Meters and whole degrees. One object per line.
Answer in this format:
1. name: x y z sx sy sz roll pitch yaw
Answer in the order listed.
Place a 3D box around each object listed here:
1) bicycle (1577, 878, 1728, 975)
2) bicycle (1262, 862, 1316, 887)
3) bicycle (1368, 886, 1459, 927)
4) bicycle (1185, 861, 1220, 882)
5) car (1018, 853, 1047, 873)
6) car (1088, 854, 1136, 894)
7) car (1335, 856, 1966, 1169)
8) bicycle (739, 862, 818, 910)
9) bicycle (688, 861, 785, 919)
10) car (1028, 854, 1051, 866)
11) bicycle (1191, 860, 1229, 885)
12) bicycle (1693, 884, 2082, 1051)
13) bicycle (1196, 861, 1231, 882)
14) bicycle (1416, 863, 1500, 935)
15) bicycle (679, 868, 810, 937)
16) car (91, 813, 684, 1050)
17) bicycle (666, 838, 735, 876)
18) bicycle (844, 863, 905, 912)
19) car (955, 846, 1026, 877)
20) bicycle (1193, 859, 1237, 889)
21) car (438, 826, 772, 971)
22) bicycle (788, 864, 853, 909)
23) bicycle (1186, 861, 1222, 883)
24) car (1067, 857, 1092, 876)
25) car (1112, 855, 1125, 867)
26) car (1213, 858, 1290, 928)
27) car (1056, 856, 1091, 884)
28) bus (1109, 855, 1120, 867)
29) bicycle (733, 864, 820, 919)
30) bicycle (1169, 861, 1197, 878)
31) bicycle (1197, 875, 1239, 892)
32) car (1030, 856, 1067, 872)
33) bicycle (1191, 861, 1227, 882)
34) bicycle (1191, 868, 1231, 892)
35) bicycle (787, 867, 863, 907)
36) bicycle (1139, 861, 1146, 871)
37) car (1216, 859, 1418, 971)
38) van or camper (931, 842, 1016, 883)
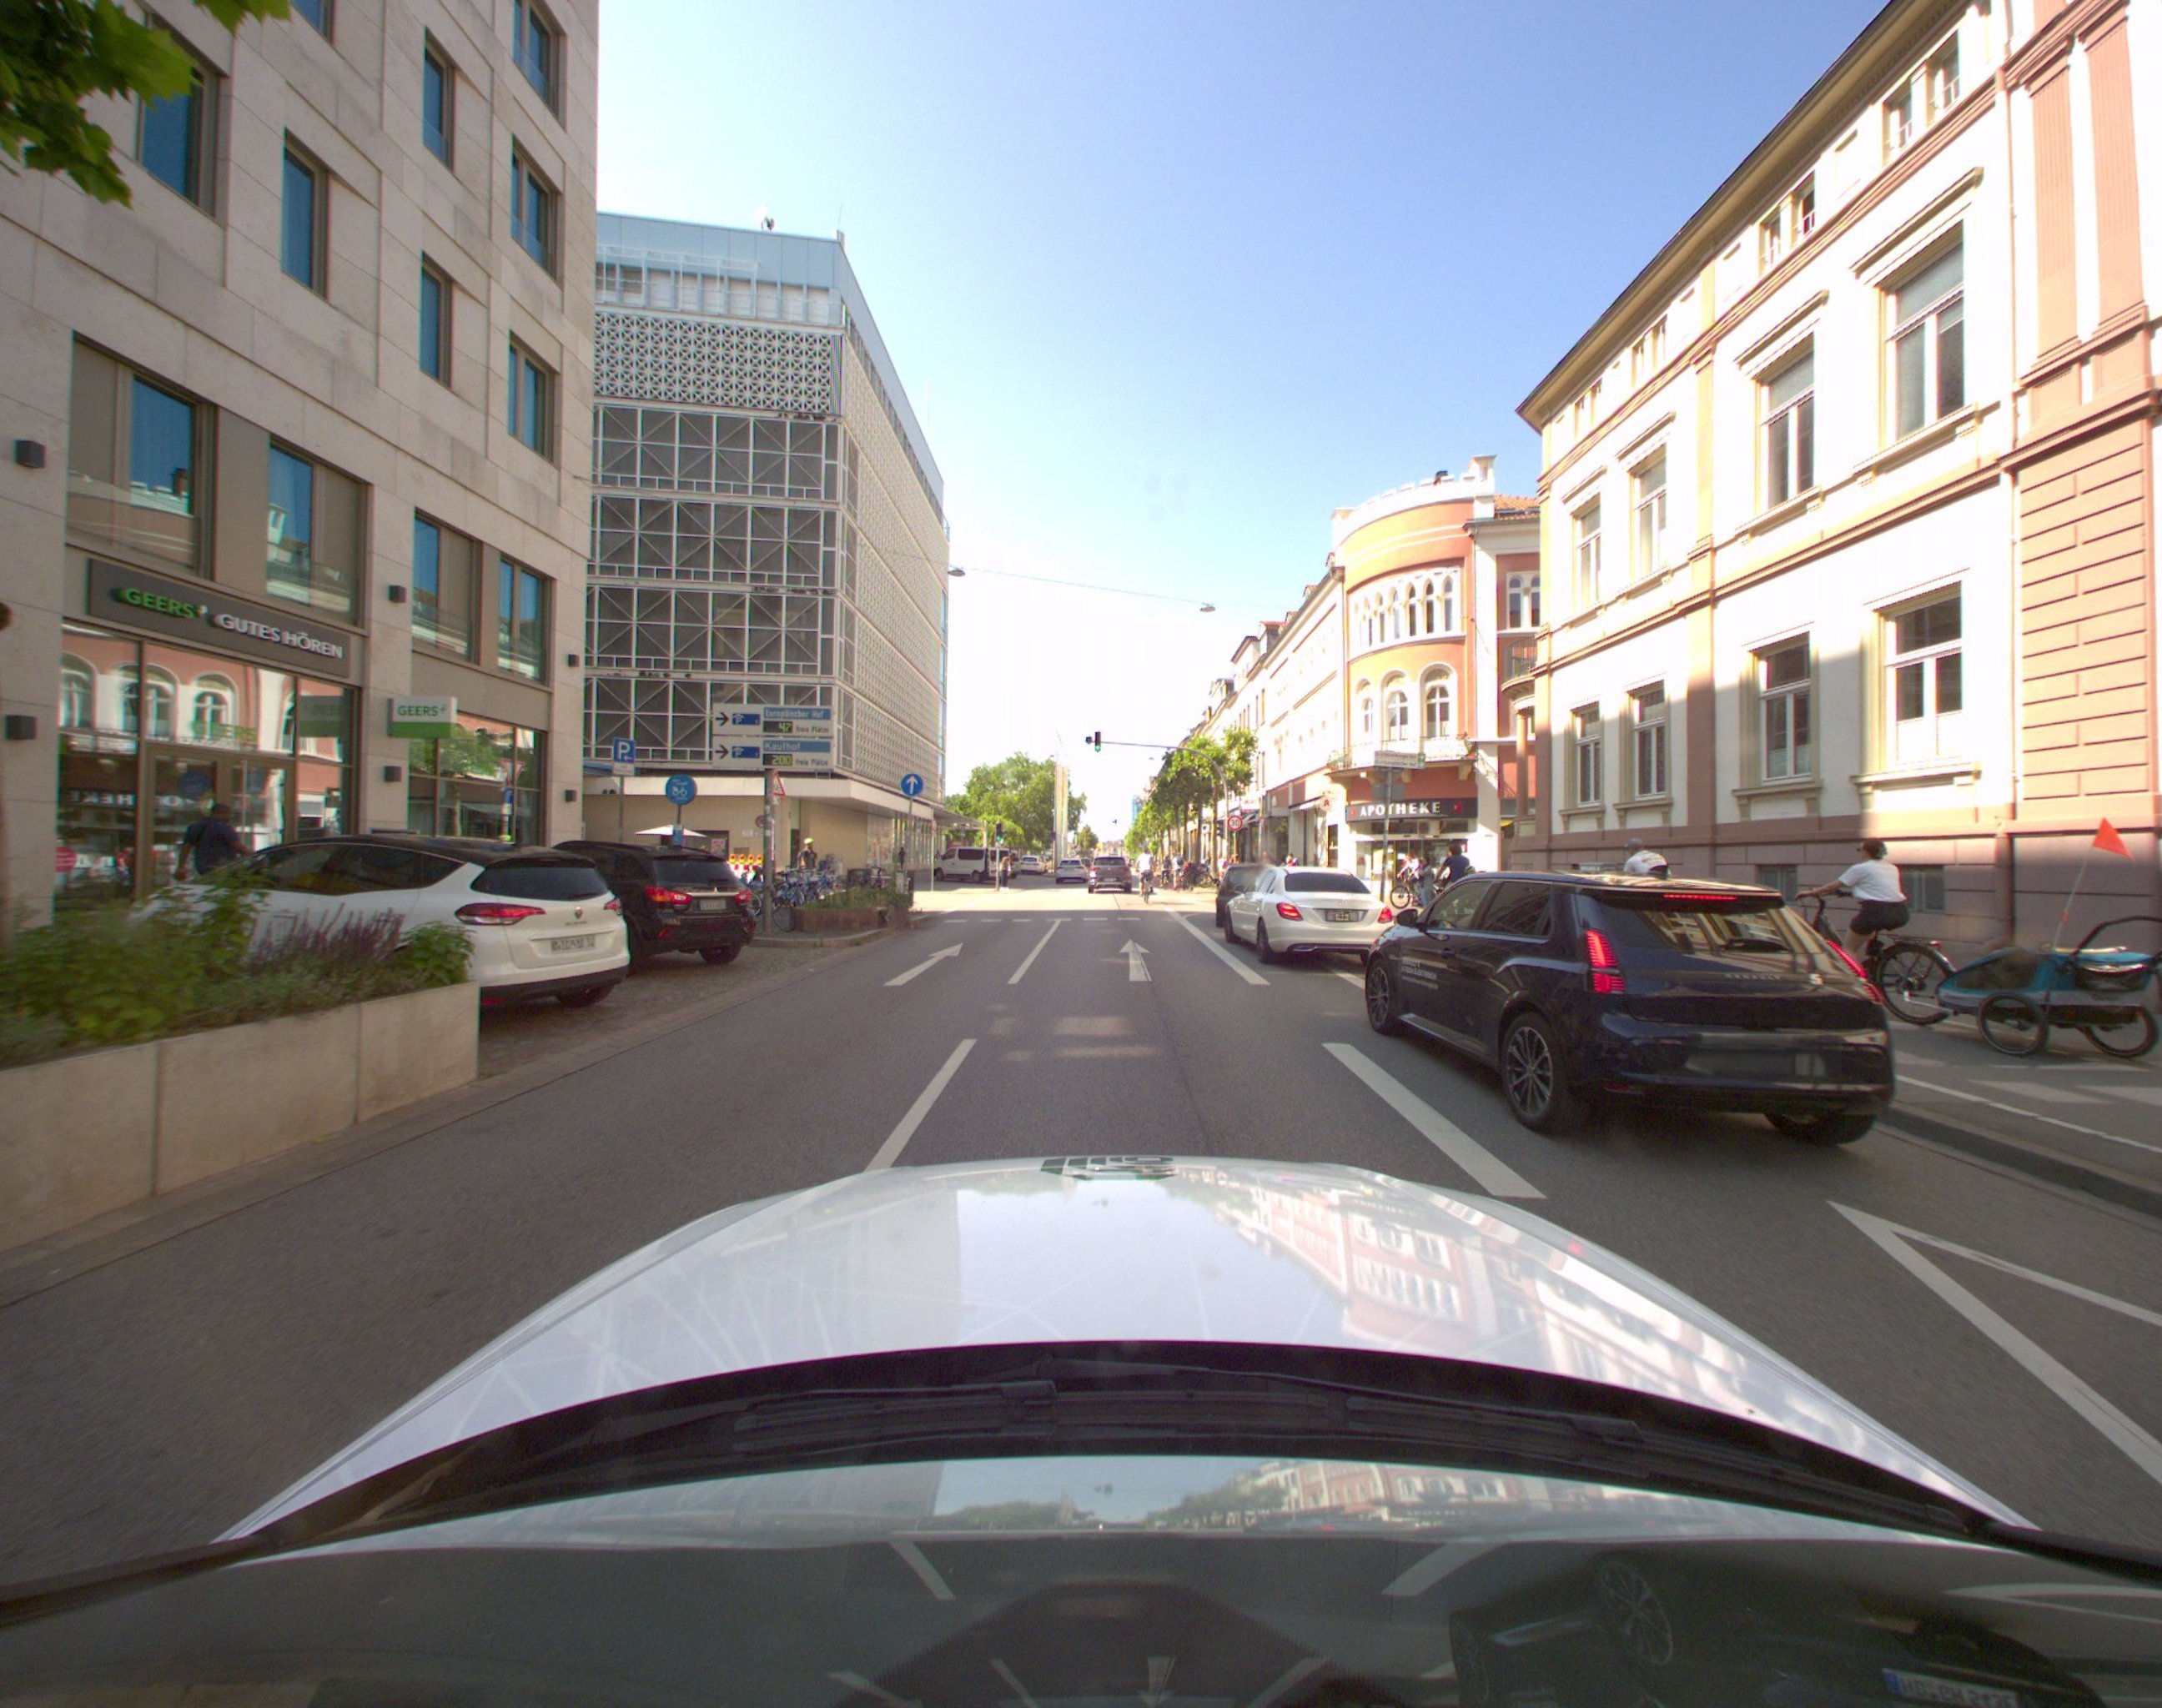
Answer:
1. bicycle: 7.884 0.945 11.363 0.570 1.127 2.076 -1 1 -2
2. bicycle: 7.340 0.724 28.769 1.814 0.844 0.501 0 0 2
3. bicycle: 10.274 1.625 25.261 2.545 1.127 0.630 2 -3 16
4. bicycle: 6.648 0.948 44.523 1.832 1.127 0.644 0 -1 3
5. car: -3.799 0.675 64.234 1.792 1.523 4.741 1 0 2
6. car: 1.249 0.785 34.041 1.840 1.559 3.999 0 0 0
7. car: 3.529 0.828 6.223 1.879 1.491 4.291 2 -1 1
8. bicycle: -7.648 0.787 20.551 2.038 1.127 0.651 1 0 28
9. bicycle: -7.647 0.782 18.044 2.300 1.127 0.565 2 0 26
10. car: -6.982 1.009 137.732 1.843 1.955 4.786 0 -1 23
11. bicycle: 6.487 0.927 40.867 1.826 1.127 0.347 2 1 17
12. bicycle: 7.509 0.951 7.977 0.745 1.127 3.243 -1 1 3
13. bicycle: 7.125 0.938 43.904 1.832 1.127 0.667 0 -1 3
14. bicycle: 7.526 0.852 16.383 0.729 1.268 2.284 1 1 3
15. bicycle: -6.045 0.862 14.681 2.131 1.127 0.485 2 1 3
16. car: -6.475 0.619 7.901 4.132 1.637 2.108 4 0 10
17. bicycle: -13.776 0.093 29.534 2.216 1.267 0.729 -2 1 -27
18. bicycle: -5.386 0.855 21.175 0.608 1.173 2.039 3 -1 -43
19. car: -5.872 0.476 52.777 4.389 1.909 2.022 1 0 38
20. bicycle: 6.117 0.899 37.341 1.833 1.188 0.721 5 3 40
21. car: -6.593 0.530 11.315 3.985 1.603 1.969 2 -1 24
22. bicycle: -6.962 0.843 21.678 2.038 1.169 0.609 -1 -1 38
23. bicycle: 6.362 0.918 42.192 1.829 1.127 0.668 0 -1 9
24. car: -0.080 0.965 64.968 1.839 1.449 4.001 0 0 1
25. car: 5.512 1.001 118.789 1.837 1.668 4.003 2 0 3
26. car: 4.068 0.892 19.614 1.618 1.478 3.742 1 -1 11
27. car: -0.404 0.927 48.025 1.838 1.560 4.002 0 0 2
28. bus: 9.826 2.111 240.544 2.984 3.594 11.747 1 -1 1
29. bicycle: -6.959 0.833 18.574 2.039 1.127 0.565 2 1 26
30. bicycle: 6.911 1.034 55.156 1.833 1.093 0.565 2 -1 2
31. bicycle: 6.587 1.420 39.256 1.142 0.434 1.841 -10 -5 -24
32. car: -3.576 1.086 91.214 1.873 1.541 4.892 1 2 29
33. bicycle: 6.764 0.926 42.943 1.832 1.127 0.667 0 -1 3
34. bicycle: 6.386 1.283 40.065 1.842 0.397 1.019 8 -35 6
35. bicycle: -7.569 0.966 24.142 1.975 1.127 0.801 0 0 8
36. bicycle: 6.114 1.170 80.997 0.644 0.998 2.031 0 0 2
37. car: 3.600 0.838 13.458 1.945 1.425 4.887 2 0 1
38. van or camper: -5.911 0.433 44.545 4.602 2.013 2.012 2 0 41
